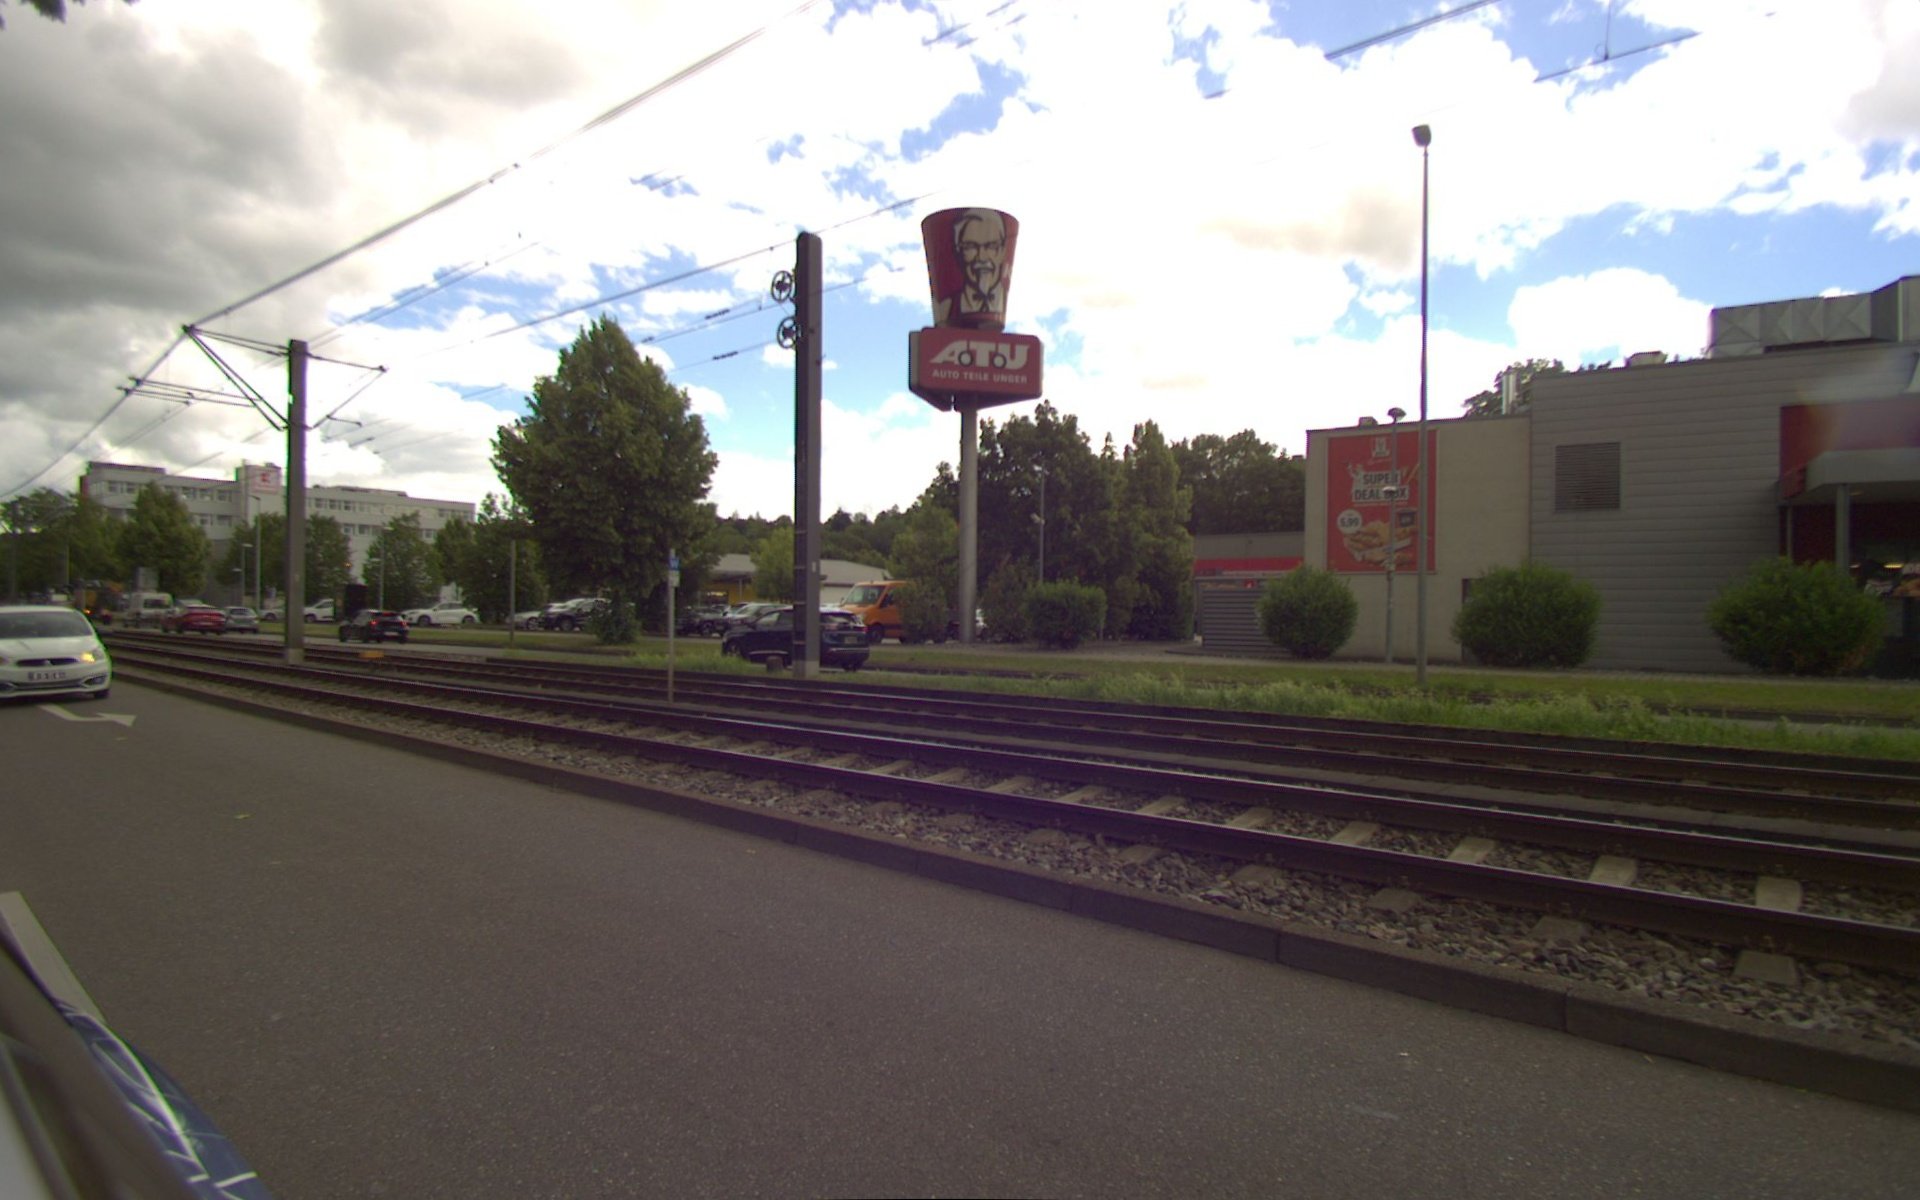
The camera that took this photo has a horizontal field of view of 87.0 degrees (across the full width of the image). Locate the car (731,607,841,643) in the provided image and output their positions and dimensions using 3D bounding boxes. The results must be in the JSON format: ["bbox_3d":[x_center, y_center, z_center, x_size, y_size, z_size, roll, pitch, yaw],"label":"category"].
[{"bbox_3d":[-6.834,0.953,40.046,1.999,1.245,3.946,-1,1,40],"label":"car"}]

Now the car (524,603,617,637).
[{"bbox_3d":[-19.817,0.991,51.601,1.936,1.518,3.946,-1,1,40],"label":"car"}]

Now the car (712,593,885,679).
[{"bbox_3d":[-4.156,0.875,25.744,4.240,2.029,1.975,-1,-1,37],"label":"car"}]

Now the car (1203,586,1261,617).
[{"bbox_3d":[15.699,0.071,58.307,1.919,1.634,3.692,-1,1,39],"label":"car"}]

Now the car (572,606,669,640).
[{"bbox_3d":[-16.189,1.050,48.386,1.936,1.431,3.946,-1,1,40],"label":"car"}]

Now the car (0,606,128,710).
[{"bbox_3d":[-15.022,0.855,16.273,3.996,1.454,1.764,-1,1,39],"label":"car"}]

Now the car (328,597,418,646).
[{"bbox_3d":[-25.601,0.942,44.117,3.993,2.029,1.975,-1,-3,37],"label":"car"}]

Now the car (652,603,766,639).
[{"bbox_3d":[-10.754,0.867,43.557,2.194,1.364,4.329,-1,1,40],"label":"car"}]

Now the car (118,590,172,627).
[{"bbox_3d":[-58.202,0.638,72.248,5.995,2.518,1.850,-1,-3,40],"label":"car"}]

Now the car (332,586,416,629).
[{"bbox_3d":[-39.801,0.529,68.799,2.287,2.769,4.423,0,-2,41],"label":"car"}]

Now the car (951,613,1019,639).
[{"bbox_3d":[1.432,1.450,56.010,1.950,1.400,3.692,-1,-2,39],"label":"car"}]

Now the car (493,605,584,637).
[{"bbox_3d":[-22.024,1.061,52.976,2.001,1.518,3.946,-1,1,40],"label":"car"}]

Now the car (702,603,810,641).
[{"bbox_3d":[-8.449,0.875,42.098,2.092,1.377,3.946,-1,1,40],"label":"car"}]

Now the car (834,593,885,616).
[{"bbox_3d":[-7.664,0.329,77.320,1.721,1.634,3.692,-1,1,39],"label":"car"}]

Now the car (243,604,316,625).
[{"bbox_3d":[-54.483,1.157,81.050,2.001,1.503,4.549,0,1,44],"label":"car"}]

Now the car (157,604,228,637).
[{"bbox_3d":[-38.719,1.028,51.000,4.477,1.594,1.765,0,-3,39],"label":"car"}]

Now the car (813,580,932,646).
[{"bbox_3d":[-3.089,0.415,36.327,2.057,2.182,3.946,-1,1,40],"label":"car"}]

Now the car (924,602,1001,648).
[{"bbox_3d":[0.154,1.188,49.881,1.950,2.029,3.692,-1,1,39],"label":"car"}]

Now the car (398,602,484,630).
[{"bbox_3d":[-32.479,0.974,63.392,1.793,1.518,4.428,-1,1,38],"label":"car"}]

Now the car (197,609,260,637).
[{"bbox_3d":[-41.391,1.307,57.239,3.997,1.494,1.973,0,-3,40],"label":"car"}]

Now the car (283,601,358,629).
[{"bbox_3d":[-47.268,1.093,74.887,2.001,1.933,4.297,0,1,44],"label":"car"}]

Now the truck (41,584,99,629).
[{"bbox_3d":[-83.037,0.661,94.364,8.627,3.997,2.862,-1,-2,41],"label":"truck"}]

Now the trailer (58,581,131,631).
[{"bbox_3d":[-74.369,0.543,86.792,14.419,3.926,2.643,0,-3,41],"label":"trailer"}]

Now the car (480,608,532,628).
[{"bbox_3d":[-35.547,1.378,79.324,1.976,1.417,3.992,-1,1,7],"label":"car"}]
